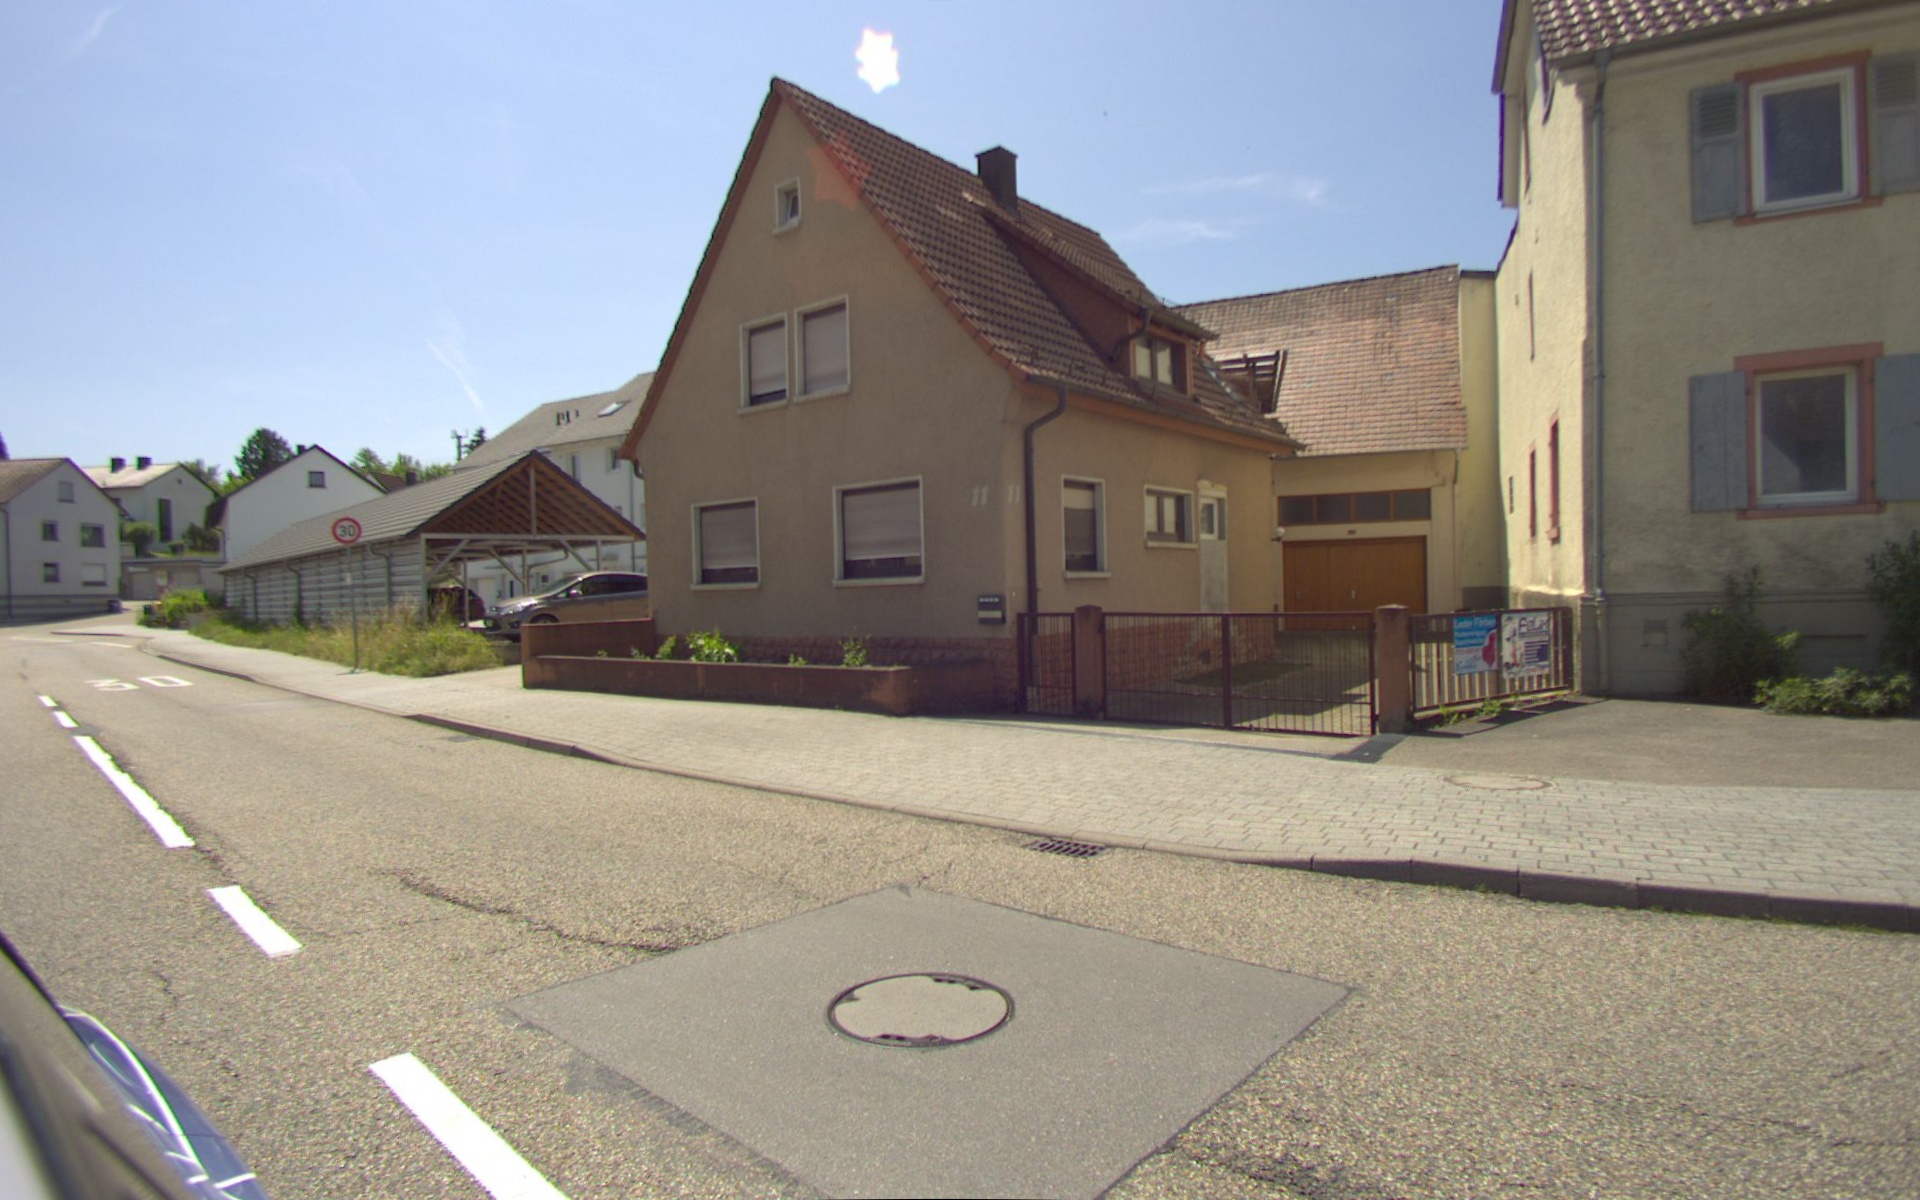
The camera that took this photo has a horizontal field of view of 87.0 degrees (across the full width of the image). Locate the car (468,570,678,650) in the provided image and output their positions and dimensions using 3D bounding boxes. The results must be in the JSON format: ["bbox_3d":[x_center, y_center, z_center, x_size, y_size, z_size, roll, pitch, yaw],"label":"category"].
[{"bbox_3d":[-8.784,0.183,23.156,4.076,1.650,1.867,-1,0,-43],"label":"car"}]

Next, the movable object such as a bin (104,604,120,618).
[{"bbox_3d":[-59.162,0.787,70.600,0.592,0.941,0.600,-1,1,-1],"label":"movable object such as a bin"}]

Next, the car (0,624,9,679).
[{"bbox_3d":[-24.581,1.318,24.601,1.786,1.324,4.008,-2,2,-39],"label":"car"}]
